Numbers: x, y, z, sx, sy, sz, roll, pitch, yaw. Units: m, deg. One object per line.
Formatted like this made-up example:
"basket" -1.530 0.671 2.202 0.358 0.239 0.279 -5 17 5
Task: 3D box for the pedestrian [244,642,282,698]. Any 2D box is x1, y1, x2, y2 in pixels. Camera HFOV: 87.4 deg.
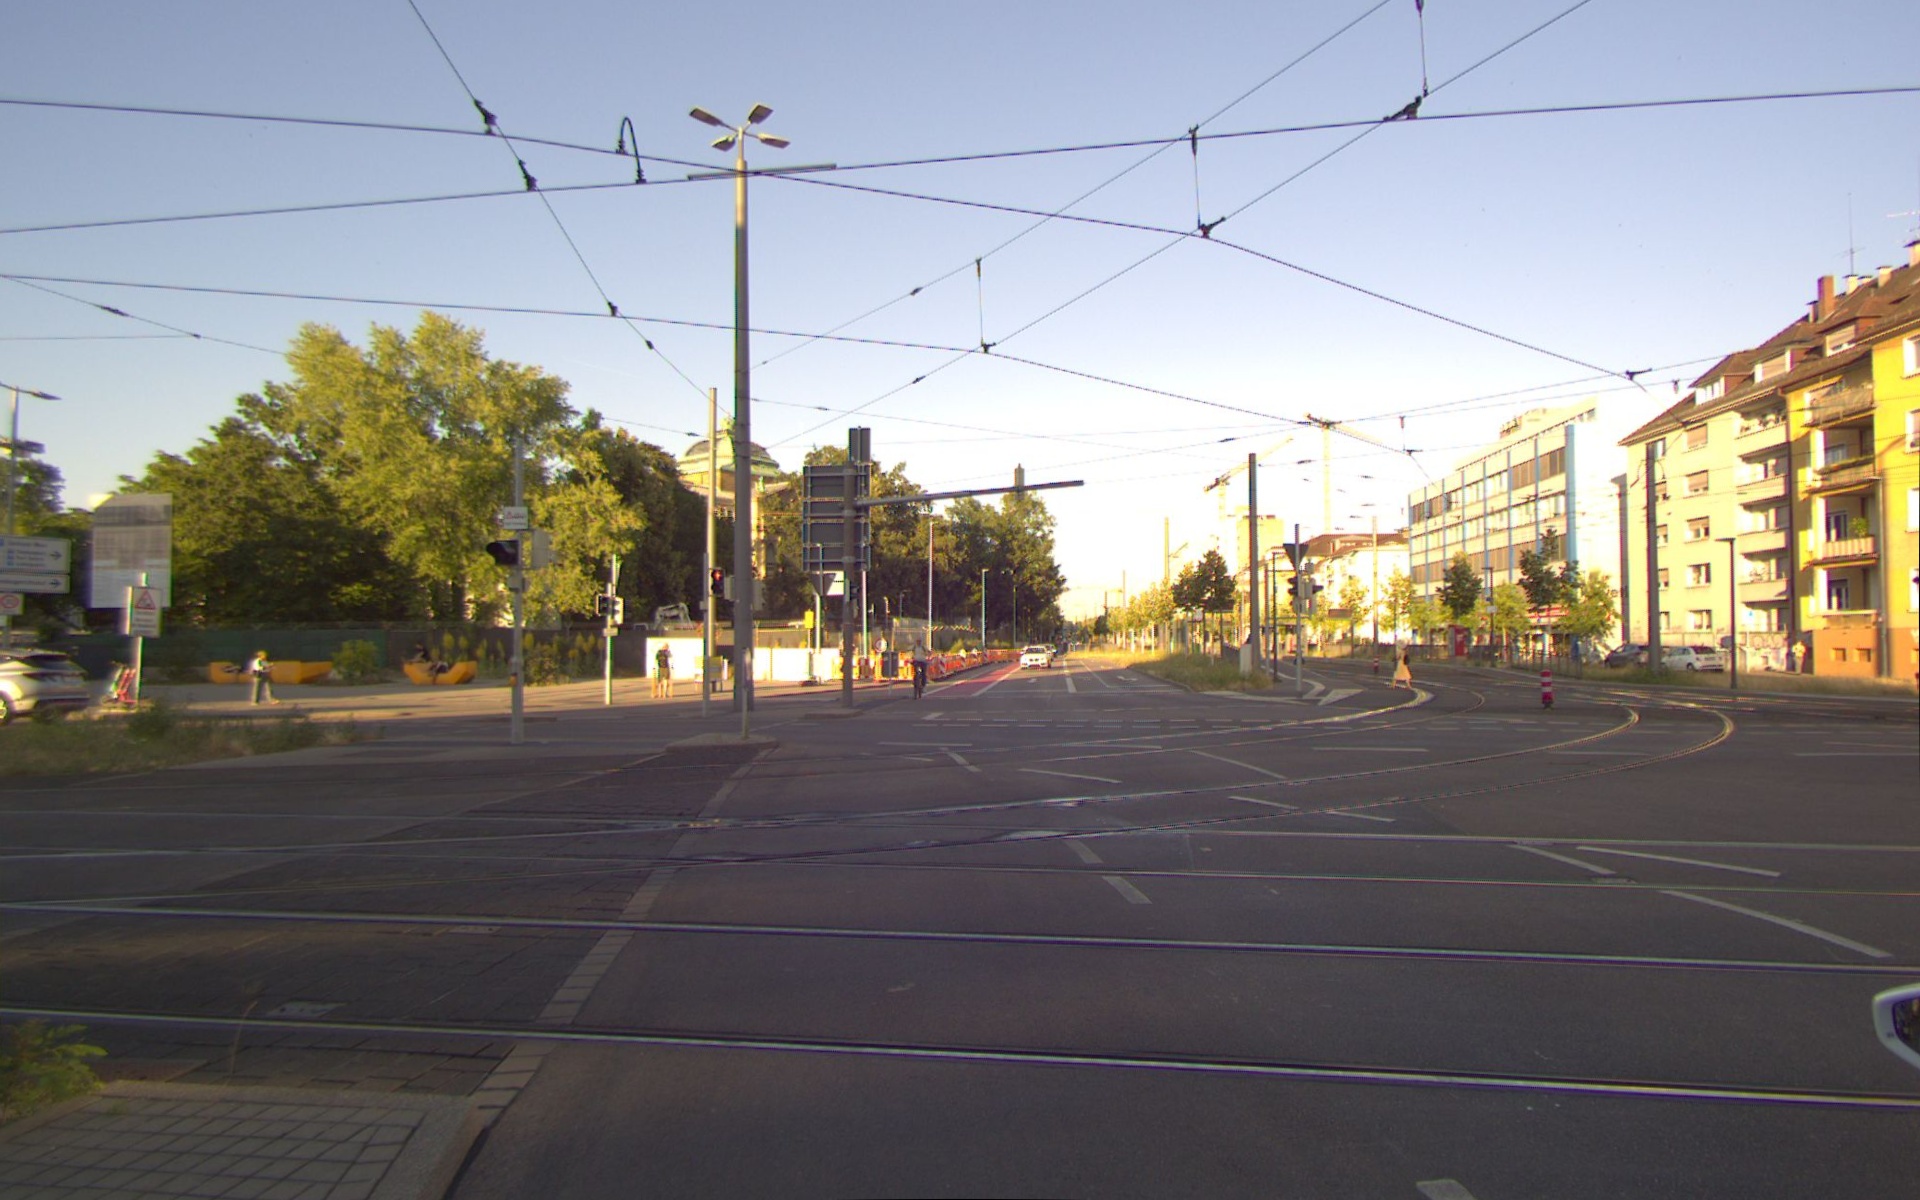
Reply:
"pedestrian" -20.694 2.063 29.819 0.584 1.634 0.690 -1 -2 14

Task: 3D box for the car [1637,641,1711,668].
"car" 39.445 2.974 55.586 1.704 1.438 3.546 0 -2 4

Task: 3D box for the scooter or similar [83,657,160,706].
"scooter or similar" -23.795 2.305 28.529 1.639 1.309 0.456 1 -2 -39

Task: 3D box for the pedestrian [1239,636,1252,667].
"pedestrian" 14.841 2.683 52.211 0.554 1.611 0.691 -1 -2 9

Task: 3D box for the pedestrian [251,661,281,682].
"pedestrian" -30.906 3.190 44.744 0.964 0.905 0.561 0 -2 -10

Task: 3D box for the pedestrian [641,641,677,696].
"pedestrian" -9.952 2.253 33.180 0.935 1.758 0.814 1 -2 -35

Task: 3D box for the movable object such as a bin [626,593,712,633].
"movable object such as a bin" -16.033 0.758 55.295 4.945 2.040 1.993 -2 -3 37

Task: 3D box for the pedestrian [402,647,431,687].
"pedestrian" -23.468 2.888 43.384 0.748 1.687 0.823 -1 -2 12

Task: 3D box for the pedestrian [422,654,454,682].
"pedestrian" -22.279 2.912 42.886 0.720 1.173 0.991 -1 -2 12

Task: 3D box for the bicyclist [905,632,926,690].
"bicyclist" -1.334 1.816 29.972 0.585 1.693 0.748 0 -2 -4

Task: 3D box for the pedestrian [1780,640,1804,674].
"pedestrian" 40.426 2.759 48.818 0.698 1.619 0.733 -1 -3 29

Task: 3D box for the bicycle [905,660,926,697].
"bicycle" -1.334 2.323 29.984 0.585 1.036 1.847 0 -2 -4

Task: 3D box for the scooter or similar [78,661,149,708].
"scooter or similar" -24.383 2.427 28.970 1.513 1.276 0.605 1 -3 -39

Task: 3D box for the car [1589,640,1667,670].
"car" 40.362 3.308 60.833 2.076 1.727 4.352 0 -2 4

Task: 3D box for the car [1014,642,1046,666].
"car" 4.442 3.419 64.040 1.878 1.424 4.307 -1 -3 3

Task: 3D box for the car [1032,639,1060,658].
"car" 7.489 4.252 87.368 1.647 1.581 3.729 -3 -4 16

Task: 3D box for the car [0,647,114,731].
"car" -20.987 1.857 21.105 4.456 1.682 1.946 0 -2 -12

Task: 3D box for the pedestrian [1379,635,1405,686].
"pedestrian" 13.506 1.895 31.420 0.694 1.561 0.637 -1 -2 23
